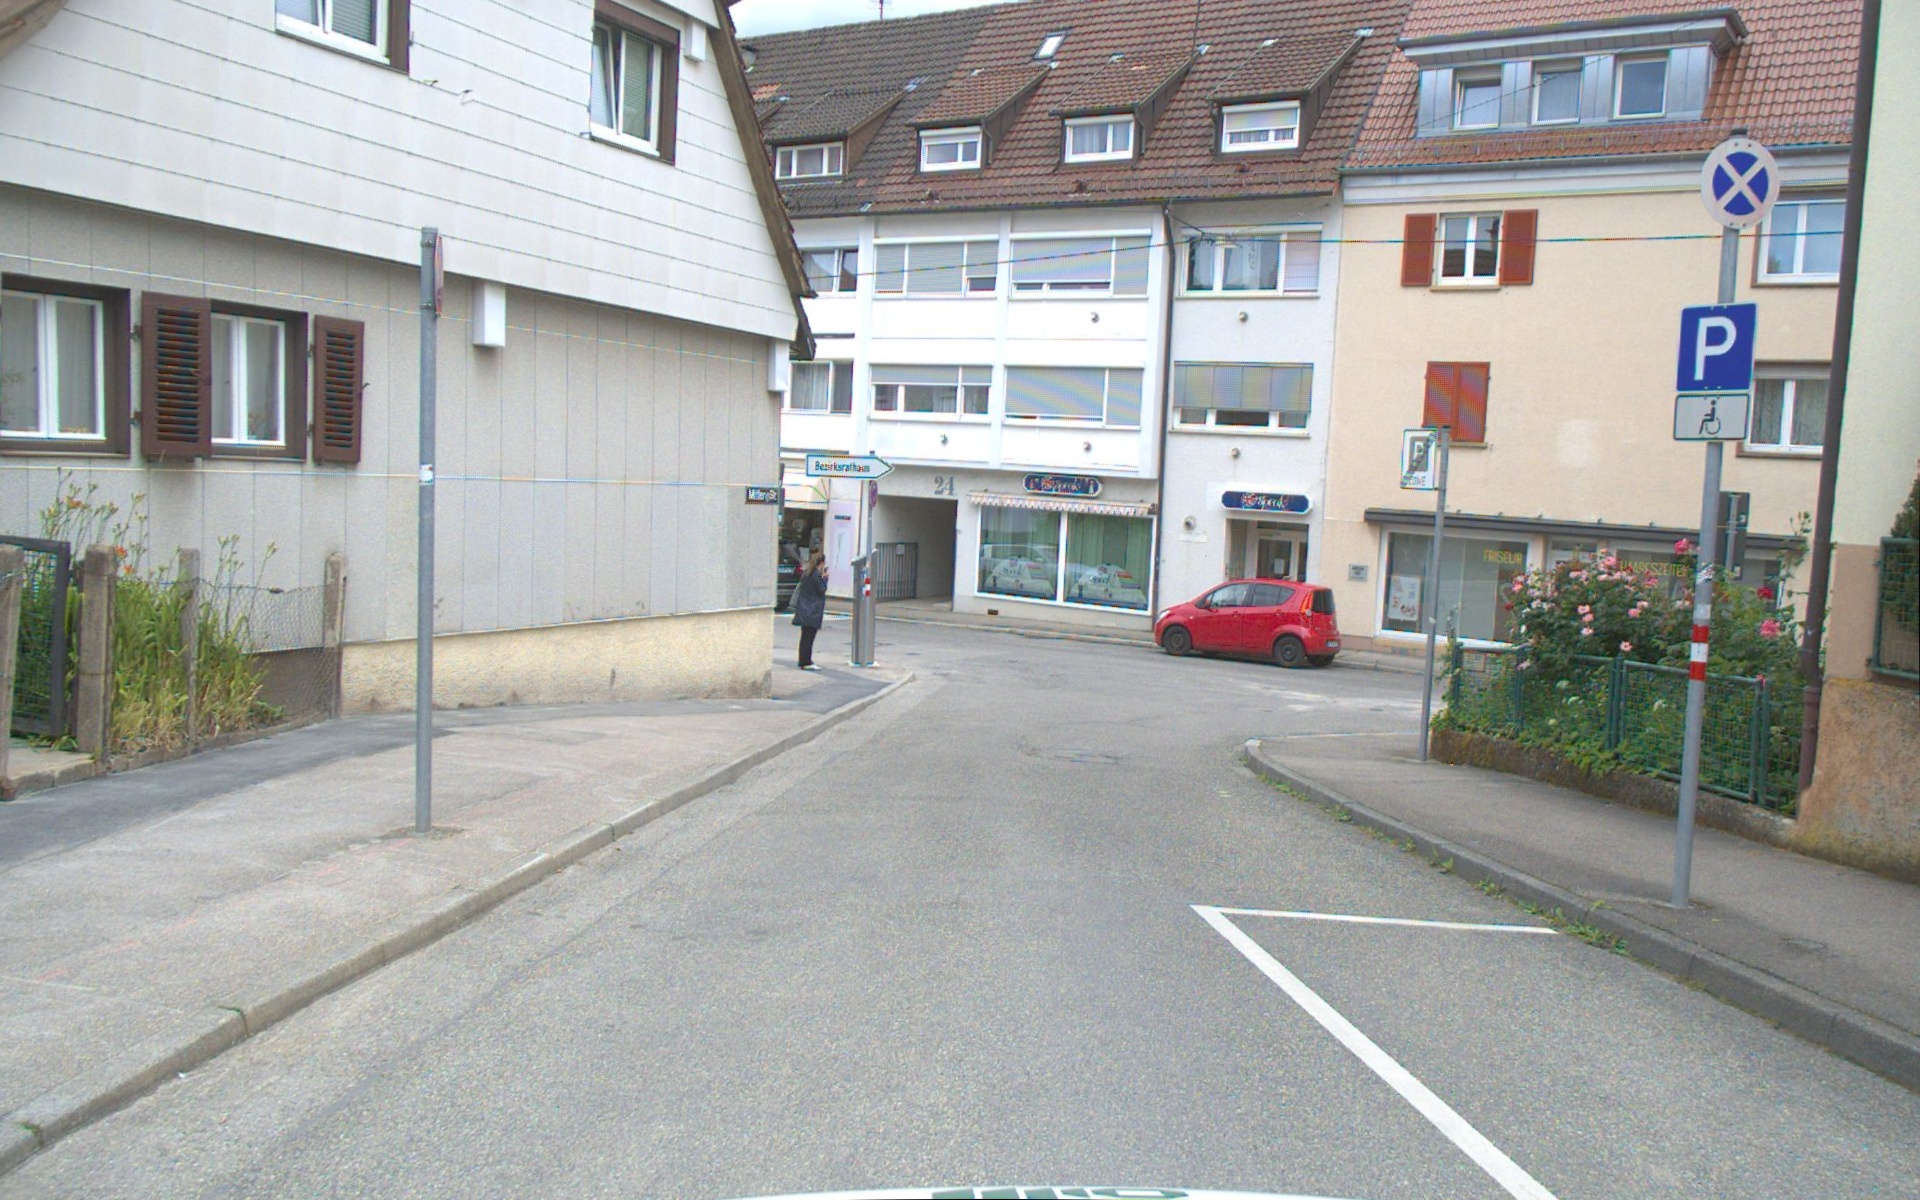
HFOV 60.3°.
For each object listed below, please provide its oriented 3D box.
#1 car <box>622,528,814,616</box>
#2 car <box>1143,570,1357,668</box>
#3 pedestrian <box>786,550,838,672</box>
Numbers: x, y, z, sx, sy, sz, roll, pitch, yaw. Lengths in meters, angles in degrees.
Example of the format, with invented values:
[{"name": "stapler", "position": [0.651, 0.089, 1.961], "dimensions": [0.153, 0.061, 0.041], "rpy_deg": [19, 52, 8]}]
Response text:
[{"name": "car", "position": [-5.751, -0.682, 39.094], "dimensions": [4.280, 1.810, 1.941], "rpy_deg": [4, 3, 34]}, {"name": "car", "position": [5.550, 0.329, 31.793], "dimensions": [3.622, 1.583, 1.691], "rpy_deg": [5, 2, 36]}, {"name": "pedestrian", "position": [-2.147, 0.151, 23.928], "dimensions": [0.634, 1.713, 0.603], "rpy_deg": [3, 2, -9]}]
